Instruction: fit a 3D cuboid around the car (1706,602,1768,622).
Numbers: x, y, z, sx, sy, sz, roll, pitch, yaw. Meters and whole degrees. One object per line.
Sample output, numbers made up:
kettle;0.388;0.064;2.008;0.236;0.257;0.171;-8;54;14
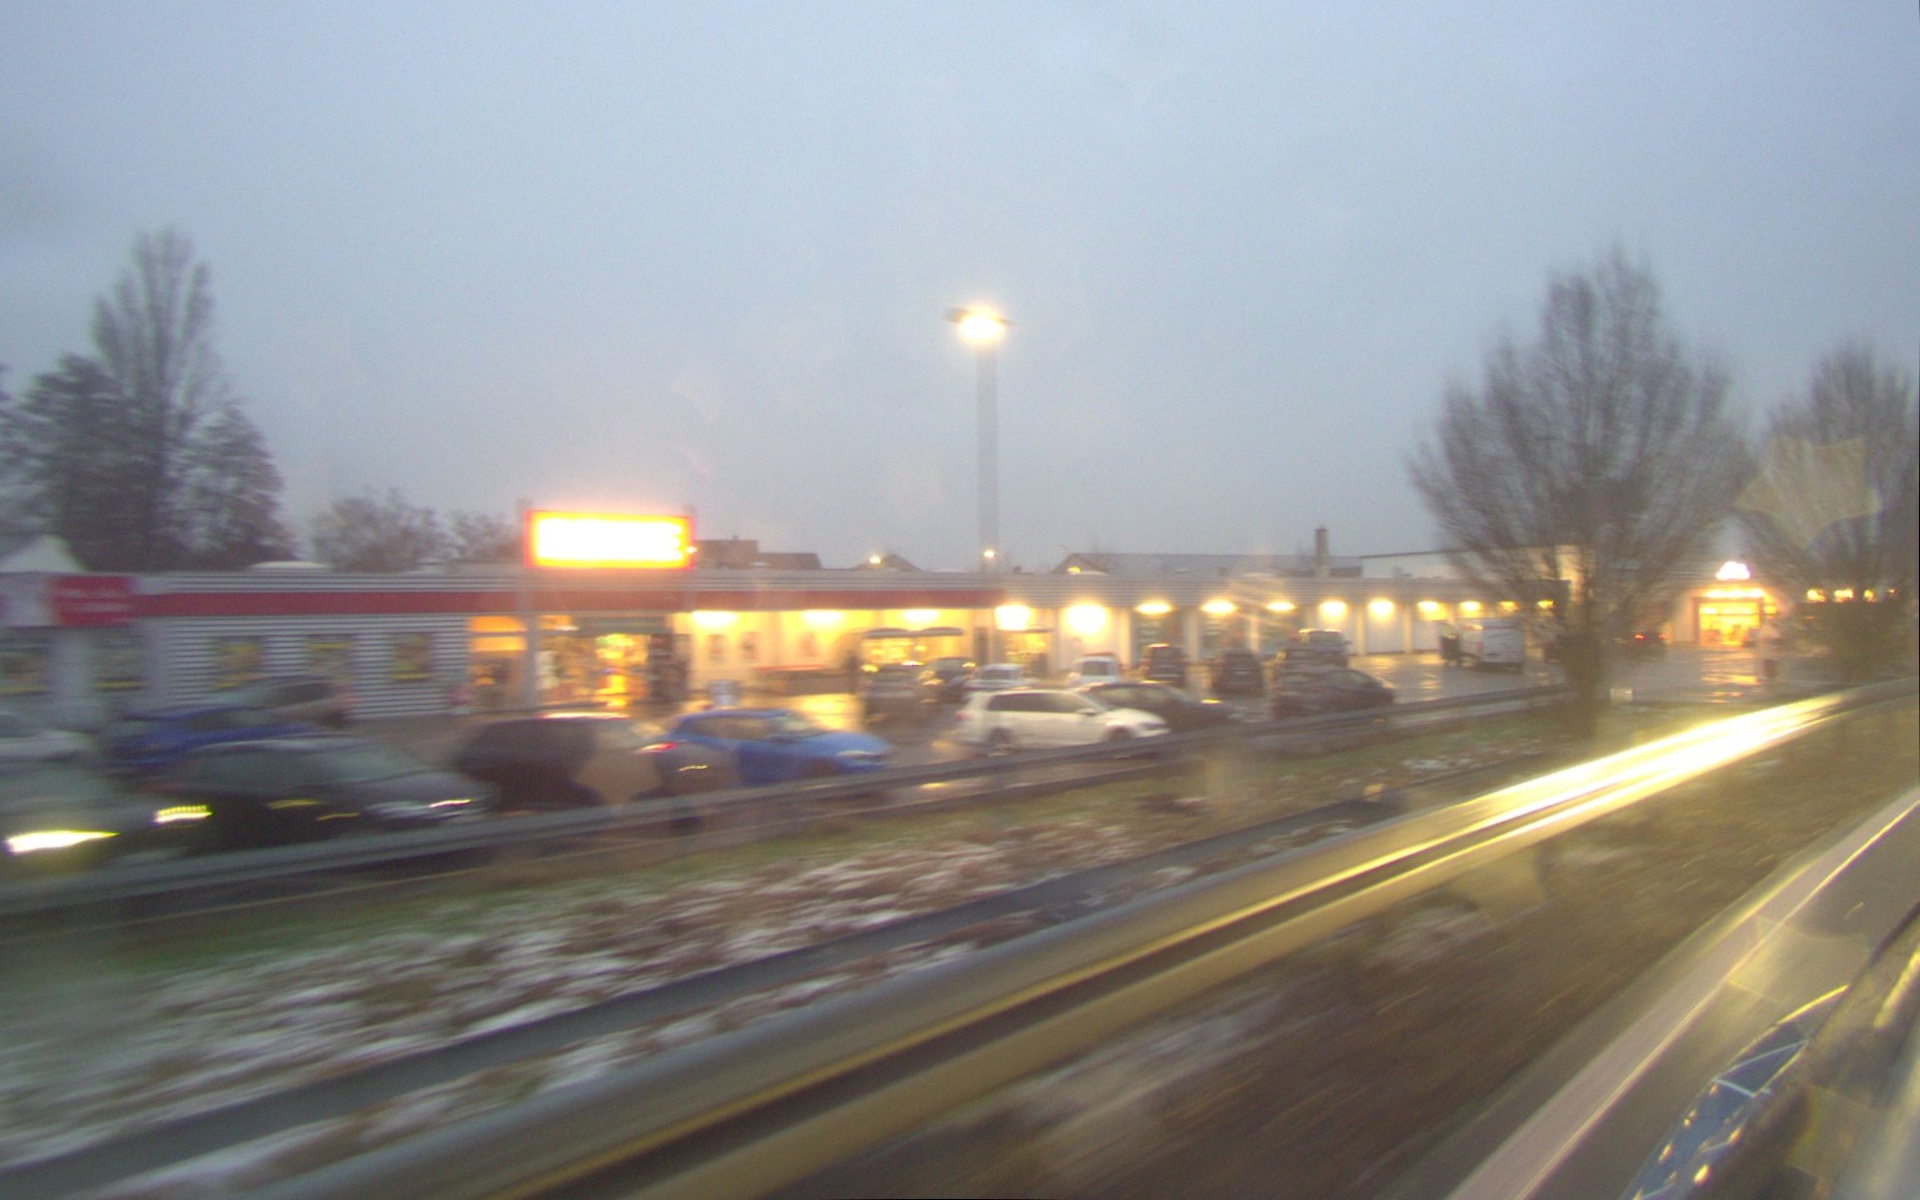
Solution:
car;68.150;1.041;88.788;1.772;1.617;4.015;0;1;-34

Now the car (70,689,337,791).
car;-15.172;2.739;20.632;1.720;1.443;4.298;0;0;13

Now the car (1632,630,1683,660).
car;37.225;2.384;54.095;1.511;1.355;3.561;0;1;22

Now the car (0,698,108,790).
car;-18.083;2.699;18.433;1.546;1.448;3.743;0;0;15

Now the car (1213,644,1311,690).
car;10.740;2.387;36.166;3.206;1.555;1.387;-1;-2;11

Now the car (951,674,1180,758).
car;2.294;2.425;21.786;4.642;1.414;1.893;0;0;18

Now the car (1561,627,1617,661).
car;31.139;2.164;50.181;1.695;1.430;3.984;0;1;22

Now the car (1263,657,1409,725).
car;10.012;2.354;26.884;3.738;1.447;1.774;-1;1;-34

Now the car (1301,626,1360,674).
car;16.899;2.239;46.385;1.859;1.983;4.939;-1;-1;13

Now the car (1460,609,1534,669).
car;24.900;1.731;47.129;2.252;2.470;5.208;0;1;19

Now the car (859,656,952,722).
car;-1.546;2.566;29.828;1.578;1.606;3.611;-1;0;18

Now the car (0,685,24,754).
car;-22.825;2.763;21.828;1.541;1.519;3.834;0;0;5

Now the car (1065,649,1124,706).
car;4.440;2.501;33.693;1.795;1.661;4.459;0;-2;7

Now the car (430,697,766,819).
car;-5.469;2.332;15.512;4.515;1.473;1.925;-1;0;12

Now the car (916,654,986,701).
car;-0.272;2.663;35.428;1.576;1.364;3.616;-1;0;14

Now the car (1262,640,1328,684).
car;13.031;2.388;39.537;1.690;1.536;3.253;-1;-1;5

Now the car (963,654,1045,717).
car;1.438;2.567;31.359;1.778;1.555;4.526;-1;0;12

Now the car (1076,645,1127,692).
car;5.498;2.571;38.976;1.700;1.520;4.012;0;0;11

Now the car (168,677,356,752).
car;-16.819;2.714;24.618;1.544;1.369;3.828;0;0;10

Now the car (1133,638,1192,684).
car;8.154;2.435;41.096;1.768;1.615;3.976;0;0;3

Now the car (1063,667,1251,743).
car;4.607;2.386;23.528;4.124;1.414;1.841;0;0;18

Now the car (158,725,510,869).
car;-8.192;2.513;13.359;3.937;1.438;1.626;0;0;12

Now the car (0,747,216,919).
car;-10.882;2.555;11.583;3.937;1.438;1.626;0;0;12

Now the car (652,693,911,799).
car;-3.104;2.492;17.848;4.120;1.414;1.895;0;0;16
